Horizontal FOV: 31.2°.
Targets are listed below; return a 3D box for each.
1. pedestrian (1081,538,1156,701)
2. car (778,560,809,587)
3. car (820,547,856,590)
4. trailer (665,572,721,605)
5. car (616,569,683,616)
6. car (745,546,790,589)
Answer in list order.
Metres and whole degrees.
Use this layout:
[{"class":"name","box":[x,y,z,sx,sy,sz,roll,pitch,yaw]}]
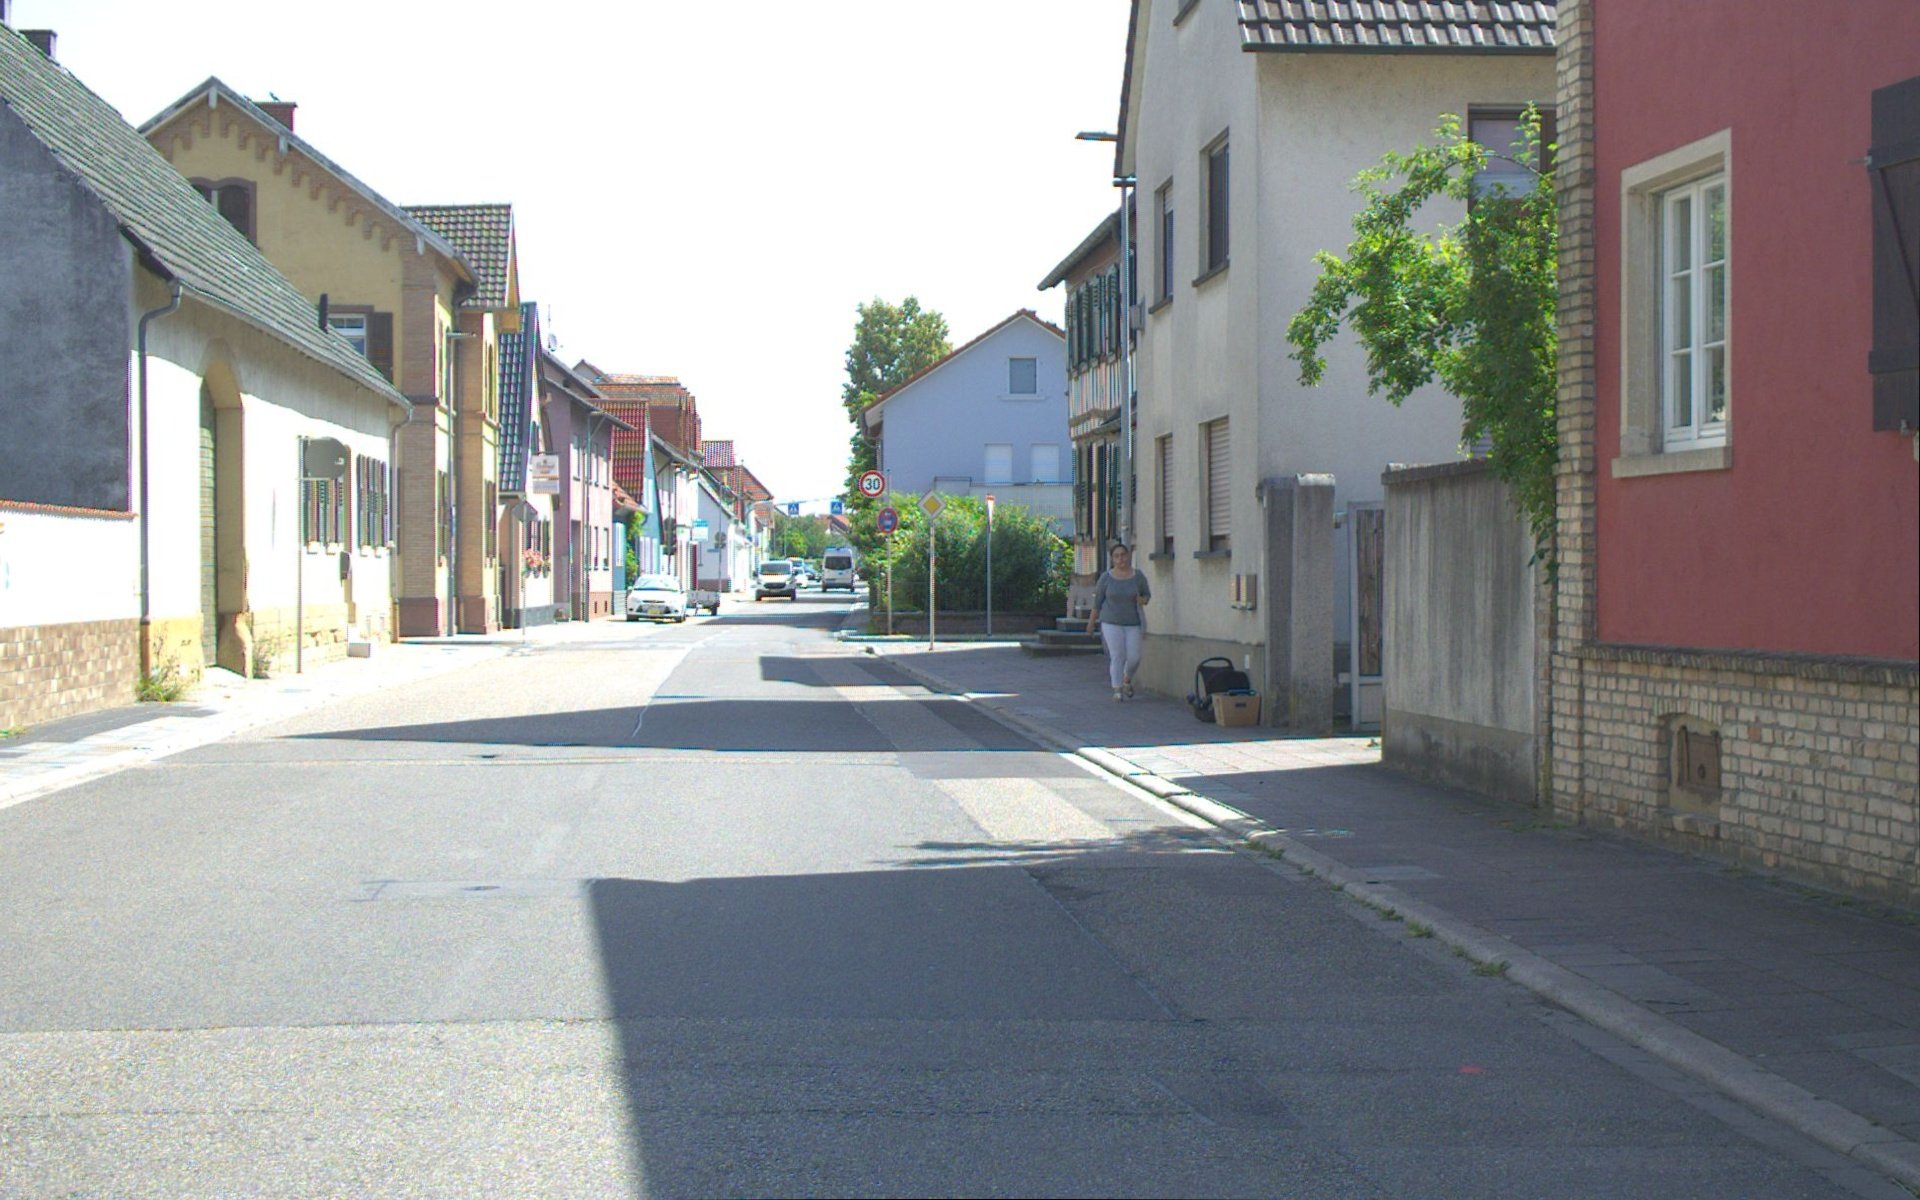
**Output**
[{"class":"pedestrian","box":[1.629,0.191,35.472,0.719,1.658,0.892,0,1,0]},{"class":"car","box":[-10.938,-1.767,225.432,1.993,1.744,4.000,1,1,-3]},{"class":"car","box":[-7.428,-1.936,209.063,2.017,2.559,4.001,0,1,-4]},{"class":"trailer","box":[-9.849,-0.429,126.434,1.993,1.086,4.001,-1,2,-5]},{"class":"car","box":[-9.899,-0.255,109.820,1.993,1.437,4.001,-1,1,-3]},{"class":"car","box":[-9.630,-1.619,172.114,2.157,2.073,4.000,-1,-1,-4]}]
